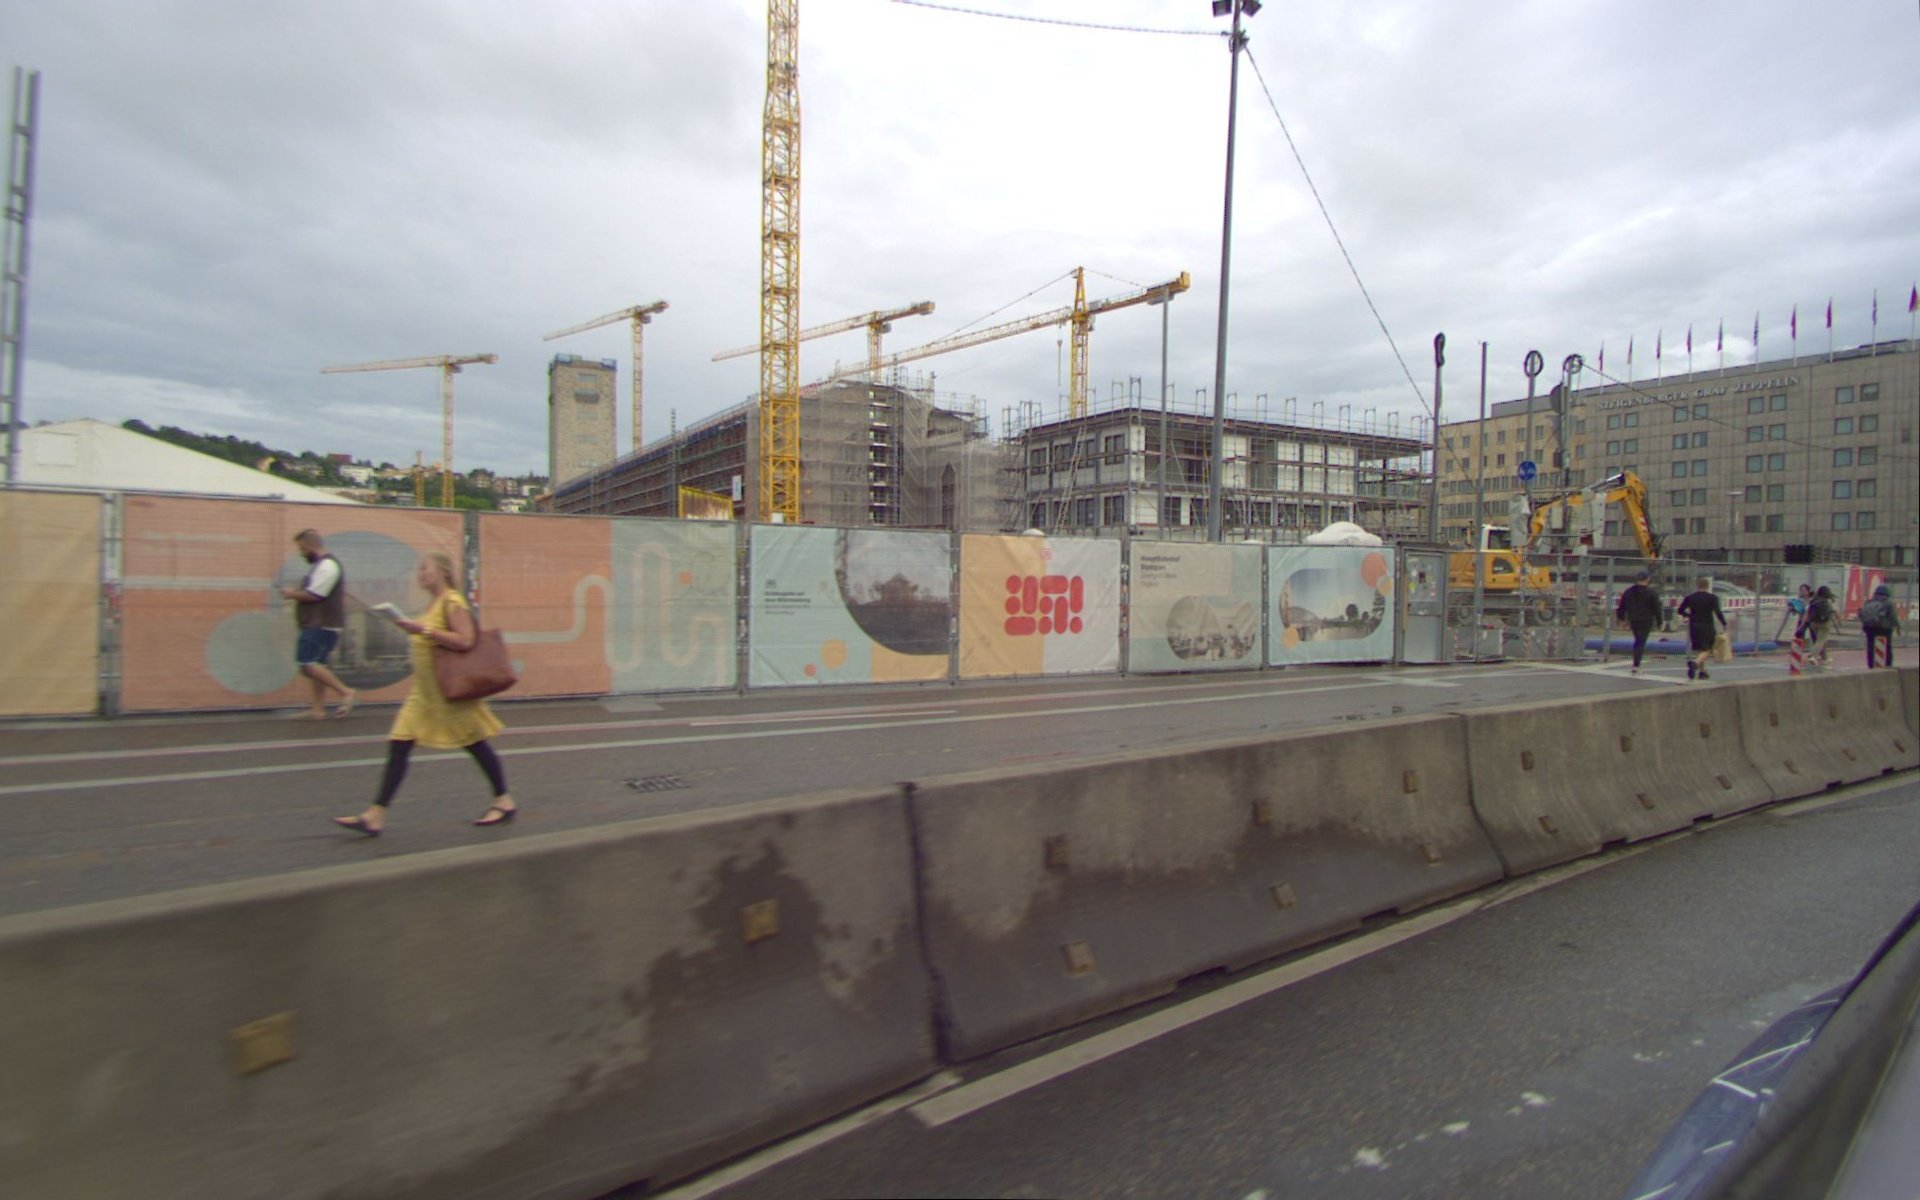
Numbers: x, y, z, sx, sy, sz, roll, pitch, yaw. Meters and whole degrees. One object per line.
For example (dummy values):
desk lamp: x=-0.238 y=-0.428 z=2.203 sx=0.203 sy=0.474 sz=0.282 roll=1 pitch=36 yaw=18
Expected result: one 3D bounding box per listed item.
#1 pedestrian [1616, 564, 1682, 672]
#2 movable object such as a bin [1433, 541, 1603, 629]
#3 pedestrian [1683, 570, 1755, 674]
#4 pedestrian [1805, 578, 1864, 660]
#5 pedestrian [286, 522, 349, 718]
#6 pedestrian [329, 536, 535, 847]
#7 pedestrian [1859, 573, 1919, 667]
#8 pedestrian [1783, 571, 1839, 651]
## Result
pedestrian: x=11.741 y=0.285 z=17.238 sx=0.751 sy=1.764 sz=0.649 roll=0 pitch=3 yaw=-37
movable object such as a bin: x=17.007 y=-0.469 z=31.031 sx=4.056 sy=2.567 sz=1.998 roll=1 pitch=1 yaw=5
pedestrian: x=12.688 y=0.347 z=16.918 sx=0.930 sy=1.666 sz=0.649 roll=0 pitch=3 yaw=-37
pedestrian: x=17.815 y=0.376 z=20.627 sx=0.885 sy=1.600 sz=0.670 roll=0 pitch=3 yaw=-37
pedestrian: x=-6.002 y=0.172 z=9.472 sx=0.485 sy=1.770 sz=0.569 roll=0 pitch=1 yaw=-32
pedestrian: x=-3.078 y=0.471 z=5.923 sx=0.646 sy=1.653 sz=0.894 roll=1 pitch=1 yaw=40
pedestrian: x=17.544 y=0.362 z=19.020 sx=0.759 sy=1.711 sz=0.657 roll=0 pitch=2 yaw=-26
pedestrian: x=18.943 y=0.229 z=22.533 sx=0.674 sy=1.726 sz=0.747 roll=0 pitch=3 yaw=-36
